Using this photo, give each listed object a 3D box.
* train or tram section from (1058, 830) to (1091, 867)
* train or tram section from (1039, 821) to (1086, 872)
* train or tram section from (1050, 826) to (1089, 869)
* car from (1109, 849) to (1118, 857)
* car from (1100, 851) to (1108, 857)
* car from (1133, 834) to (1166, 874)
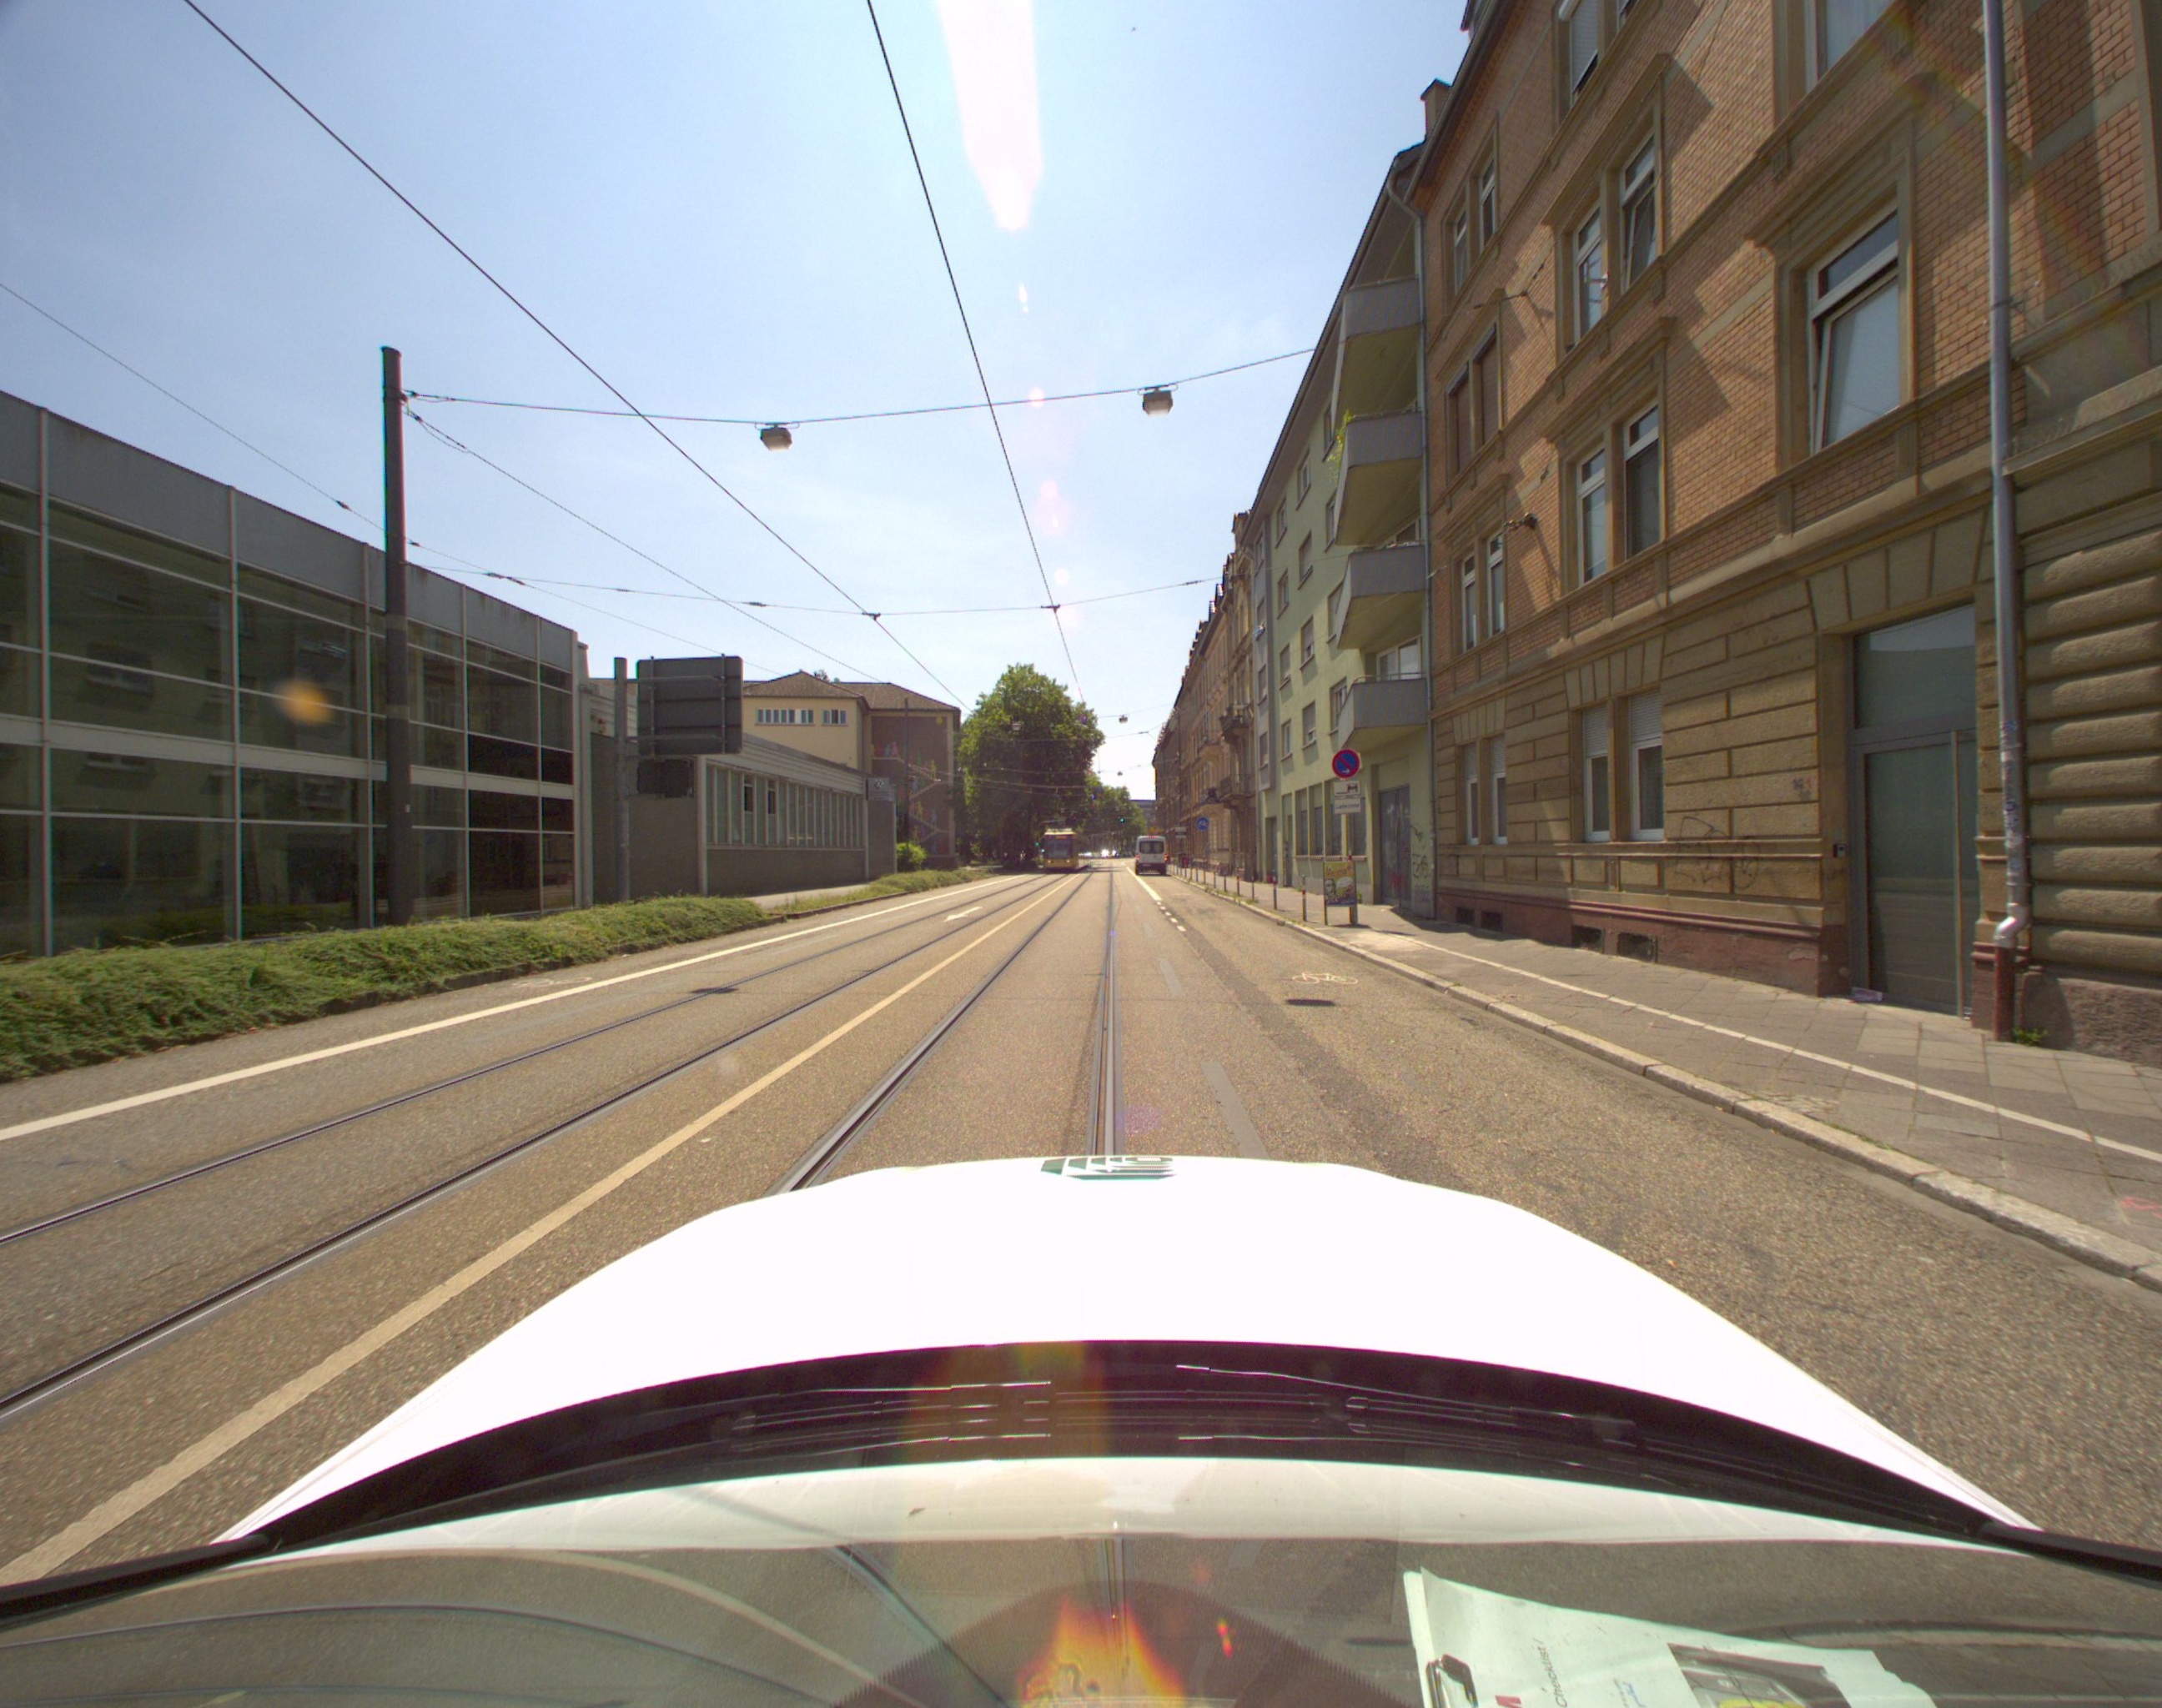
[{"bbox_3d":[-0.579,-0.603,87.304,2.949,3.580,13.429,-1,0,2],"label":"train or tram section"},{"bbox_3d":[-1.300,-0.581,64.918,2.949,3.580,13.429,-1,0,2],"label":"train or tram section"},{"bbox_3d":[-0.923,-0.592,77.059,2.949,3.580,13.429,-1,0,2],"label":"train or tram section"},{"bbox_3d":[7.321,-0.271,182.938,1.669,1.860,3.999,-1,0,0],"label":"car"},{"bbox_3d":[4.941,0.027,176.347,1.523,1.408,3.489,-1,0,0],"label":"car"},{"bbox_3d":[4.463,-0.009,53.791,2.058,2.501,5.459,0,0,3],"label":"car"}]
